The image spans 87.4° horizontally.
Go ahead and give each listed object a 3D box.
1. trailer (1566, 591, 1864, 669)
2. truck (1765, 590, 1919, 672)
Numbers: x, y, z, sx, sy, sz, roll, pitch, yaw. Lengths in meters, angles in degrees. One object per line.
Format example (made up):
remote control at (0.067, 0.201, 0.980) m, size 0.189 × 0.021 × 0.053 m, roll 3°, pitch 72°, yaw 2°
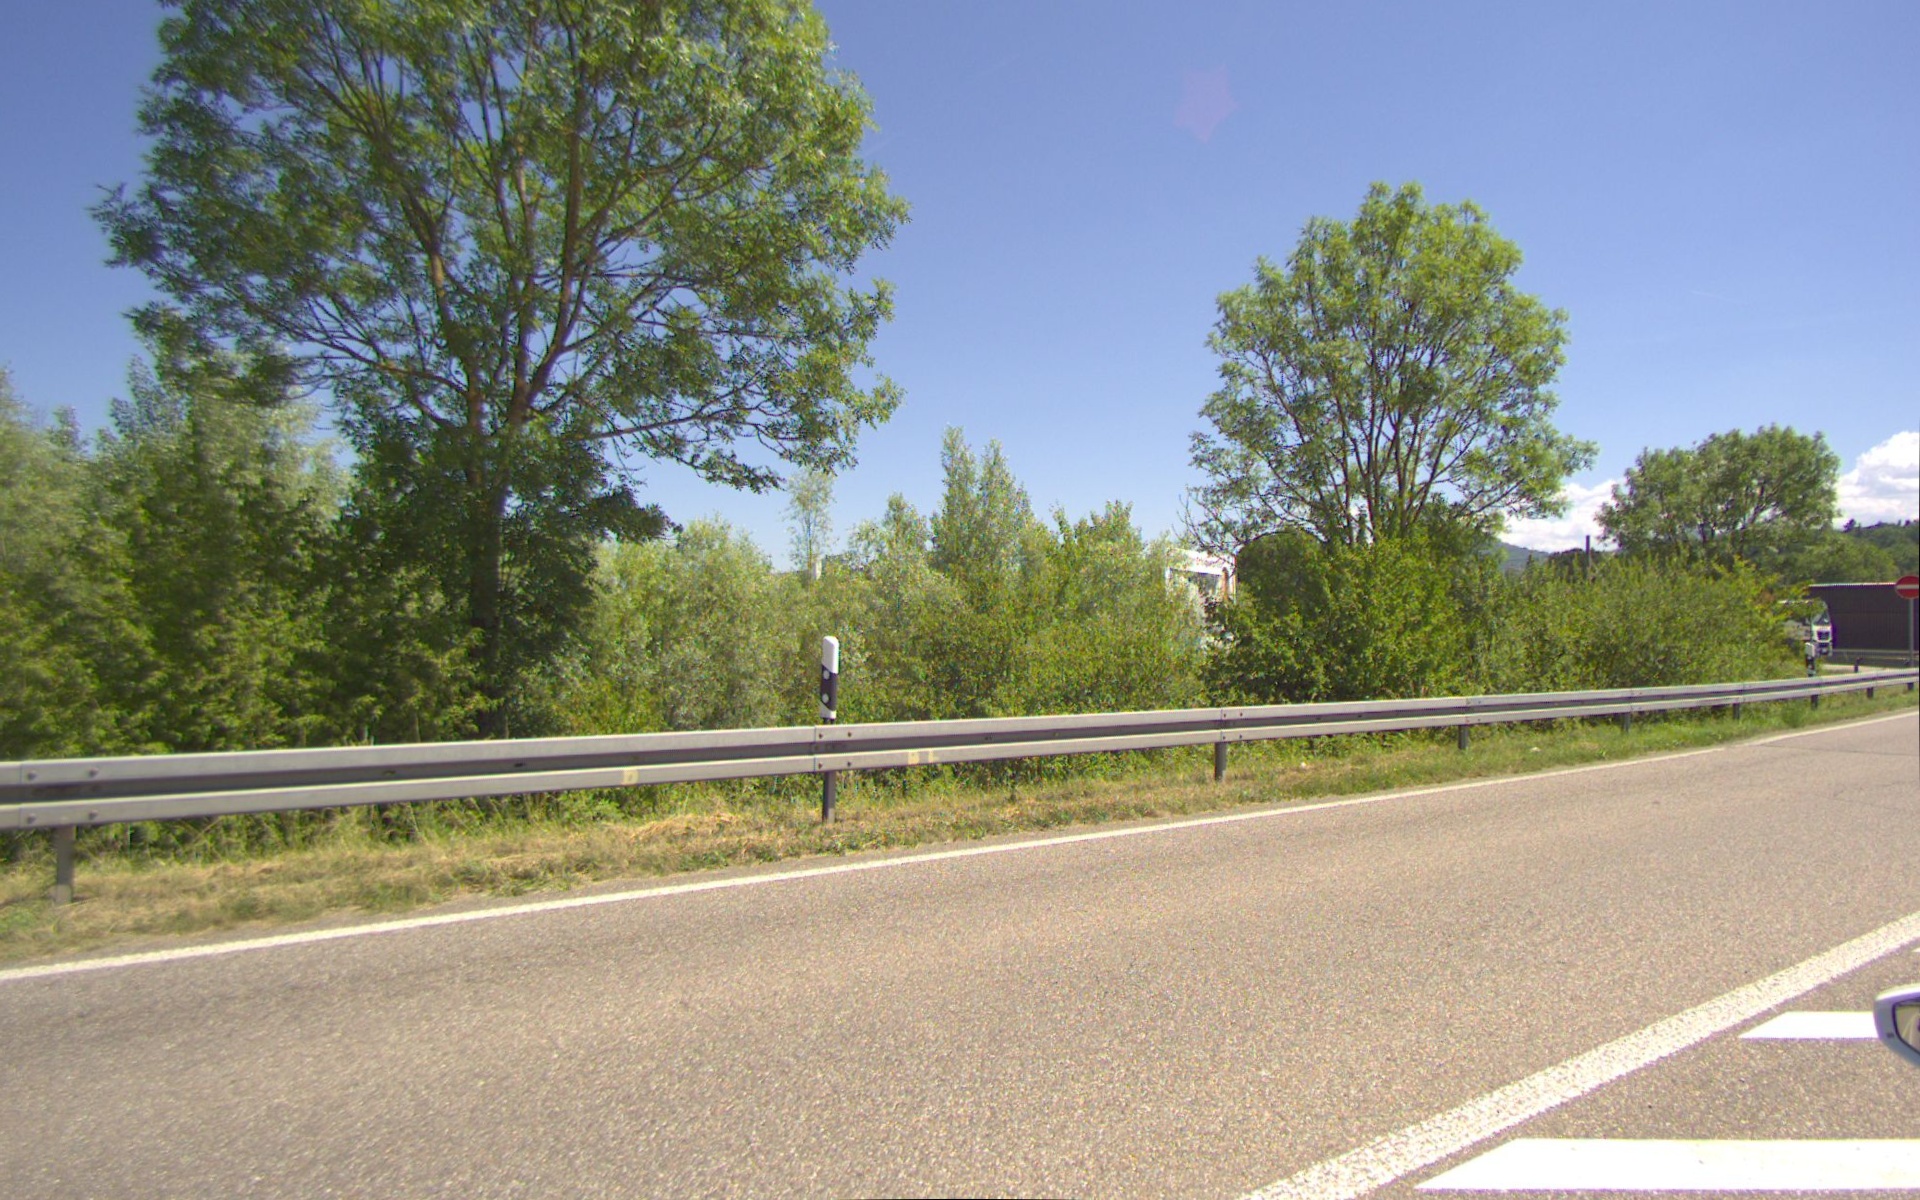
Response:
trailer at (38.241, 1.613, 51.790) m, size 2.207 × 3.550 × 12.259 m, roll 0°, pitch -2°, yaw -31°
truck at (41.729, 1.406, 45.870) m, size 2.206 × 3.551 × 7.371 m, roll 0°, pitch -2°, yaw -30°
